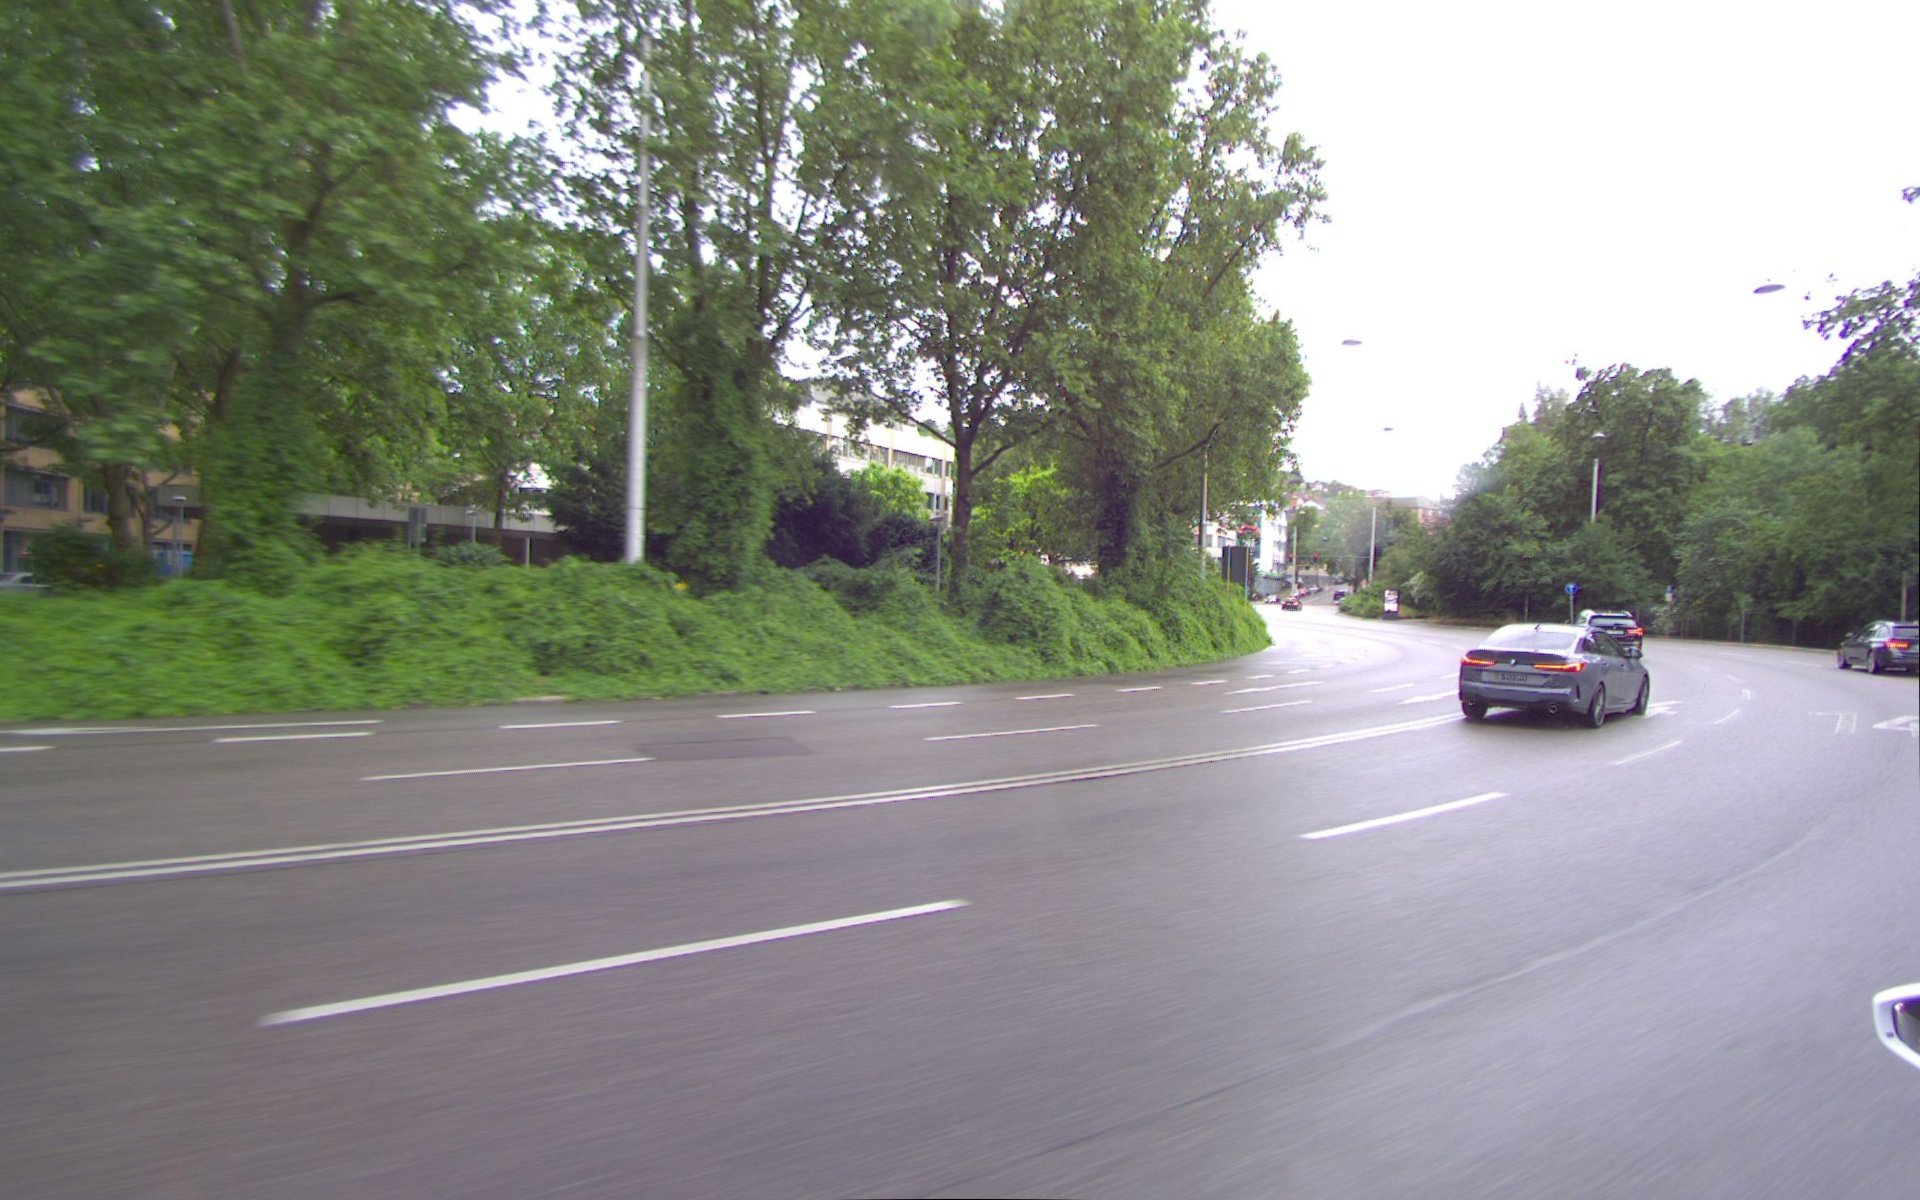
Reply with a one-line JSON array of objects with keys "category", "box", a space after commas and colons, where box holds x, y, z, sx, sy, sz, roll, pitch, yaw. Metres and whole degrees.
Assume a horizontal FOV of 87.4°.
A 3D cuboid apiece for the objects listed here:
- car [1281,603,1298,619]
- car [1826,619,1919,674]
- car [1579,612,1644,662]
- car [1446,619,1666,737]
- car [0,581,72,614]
[{"category": "car", "box": [37.896, 1.254, 115.604, 1.799, 1.673, 4.000, 2, 0, 18]}, {"category": "car", "box": [26.259, 1.321, 28.353, 1.731, 1.451, 4.408, -1, -3, 27]}, {"category": "car", "box": [23.076, 1.261, 35.515, 1.735, 1.607, 4.397, 0, 0, 36]}, {"category": "car", "box": [9.300, 1.075, 15.505, 4.506, 1.434, 1.649, 0, 2, -42]}, {"category": "car", "box": [-36.539, -0.077, 38.941, 1.469, 1.223, 3.501, 0, 0, -8]}]
